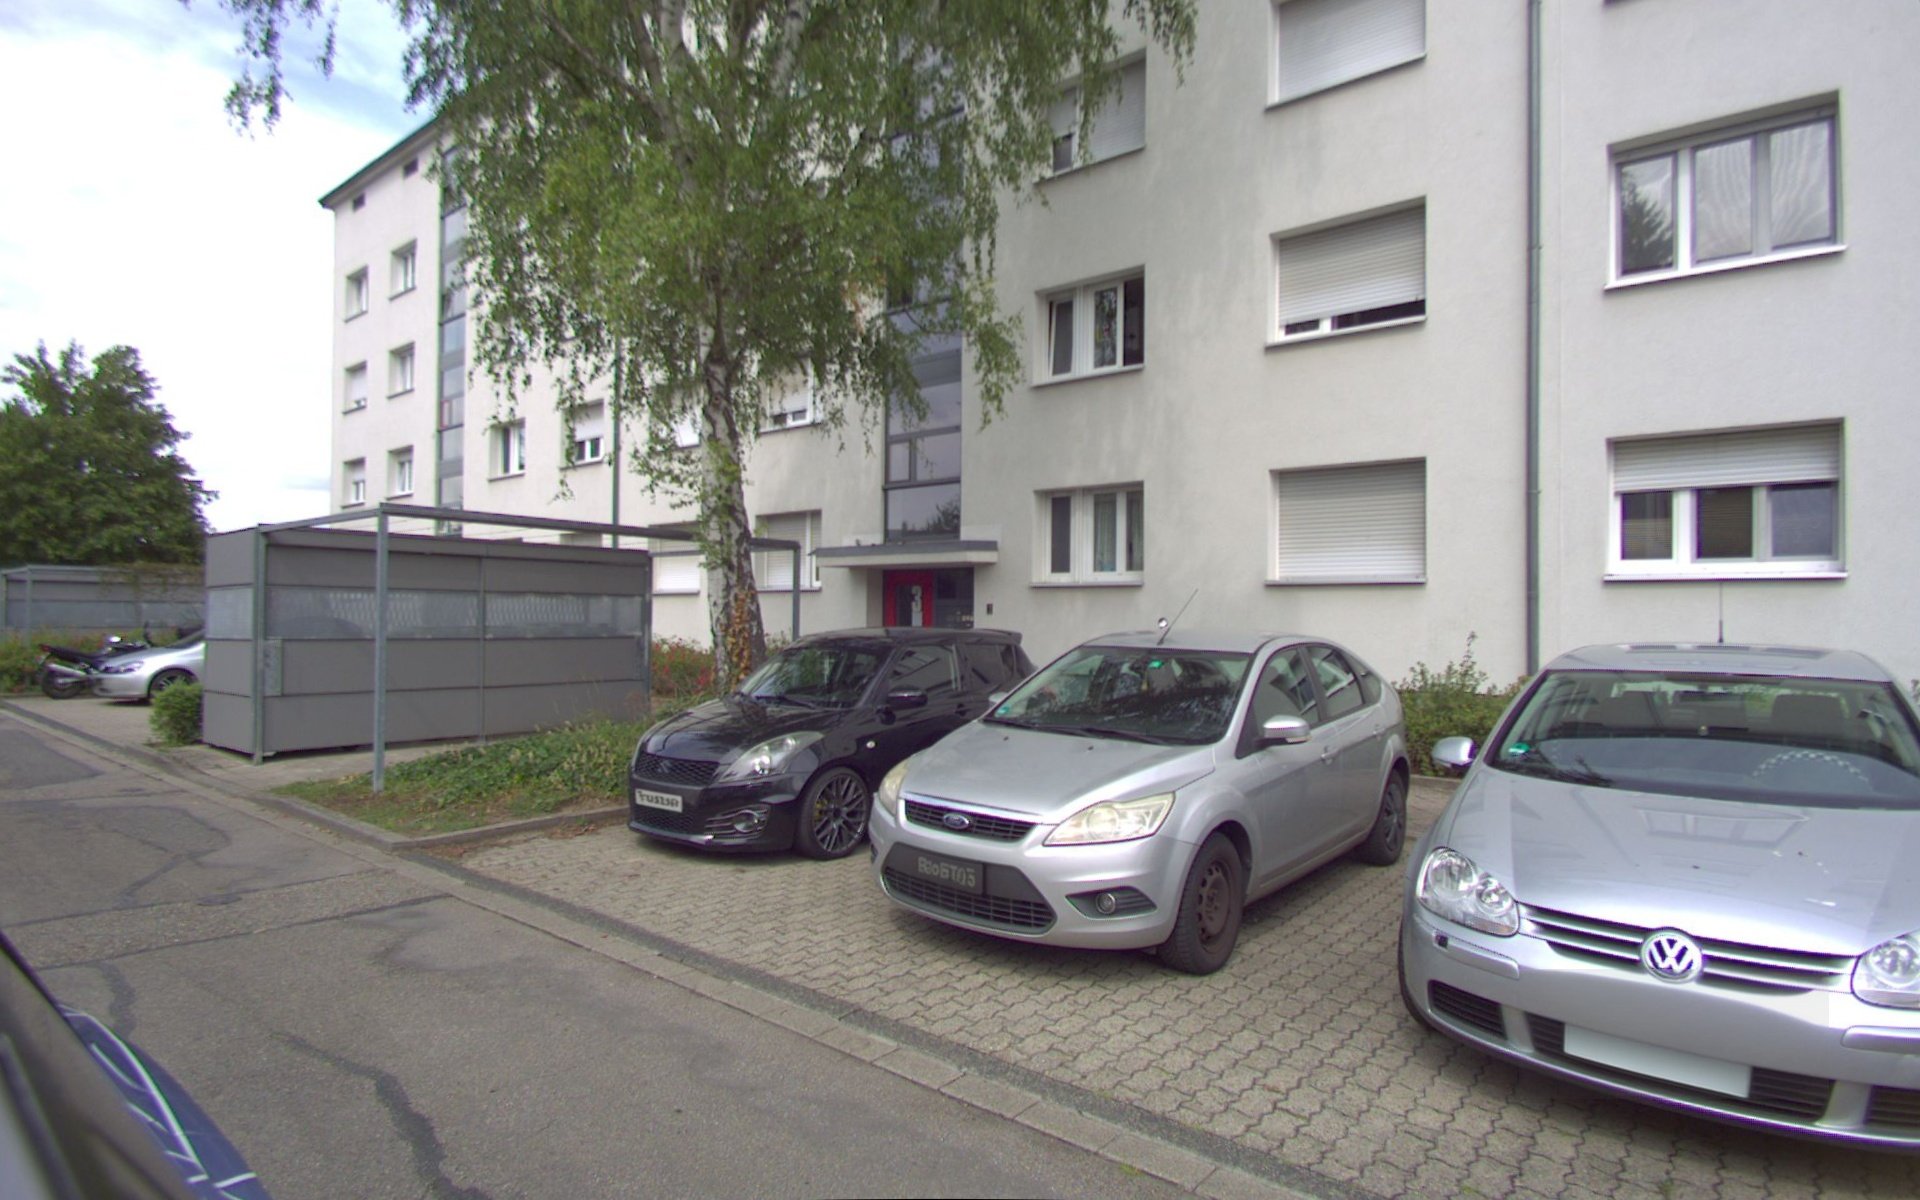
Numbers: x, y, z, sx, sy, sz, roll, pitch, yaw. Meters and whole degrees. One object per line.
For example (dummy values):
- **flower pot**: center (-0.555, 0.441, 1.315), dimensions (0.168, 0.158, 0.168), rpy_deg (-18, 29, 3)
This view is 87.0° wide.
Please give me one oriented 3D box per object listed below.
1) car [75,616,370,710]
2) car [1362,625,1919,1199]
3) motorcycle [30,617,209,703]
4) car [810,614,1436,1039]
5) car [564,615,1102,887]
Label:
- **car**: center (-13.241, 1.134, 18.343), dimensions (1.901, 1.497, 3.945), rpy_deg (-1, -4, 41)
- **car**: center (3.201, 0.880, 4.167), dimensions (1.780, 1.475, 4.011), rpy_deg (-1, -2, 39)
- **motorcycle**: center (-15.287, 1.102, 18.475), dimensions (0.713, 1.475, 2.353), rpy_deg (-1, -4, 39)
- **car**: center (1.245, 0.890, 5.779), dimensions (1.780, 1.516, 4.011), rpy_deg (-1, -2, 39)
- **car**: center (-0.713, 0.924, 7.824), dimensions (1.780, 1.516, 4.011), rpy_deg (-1, -2, 39)
